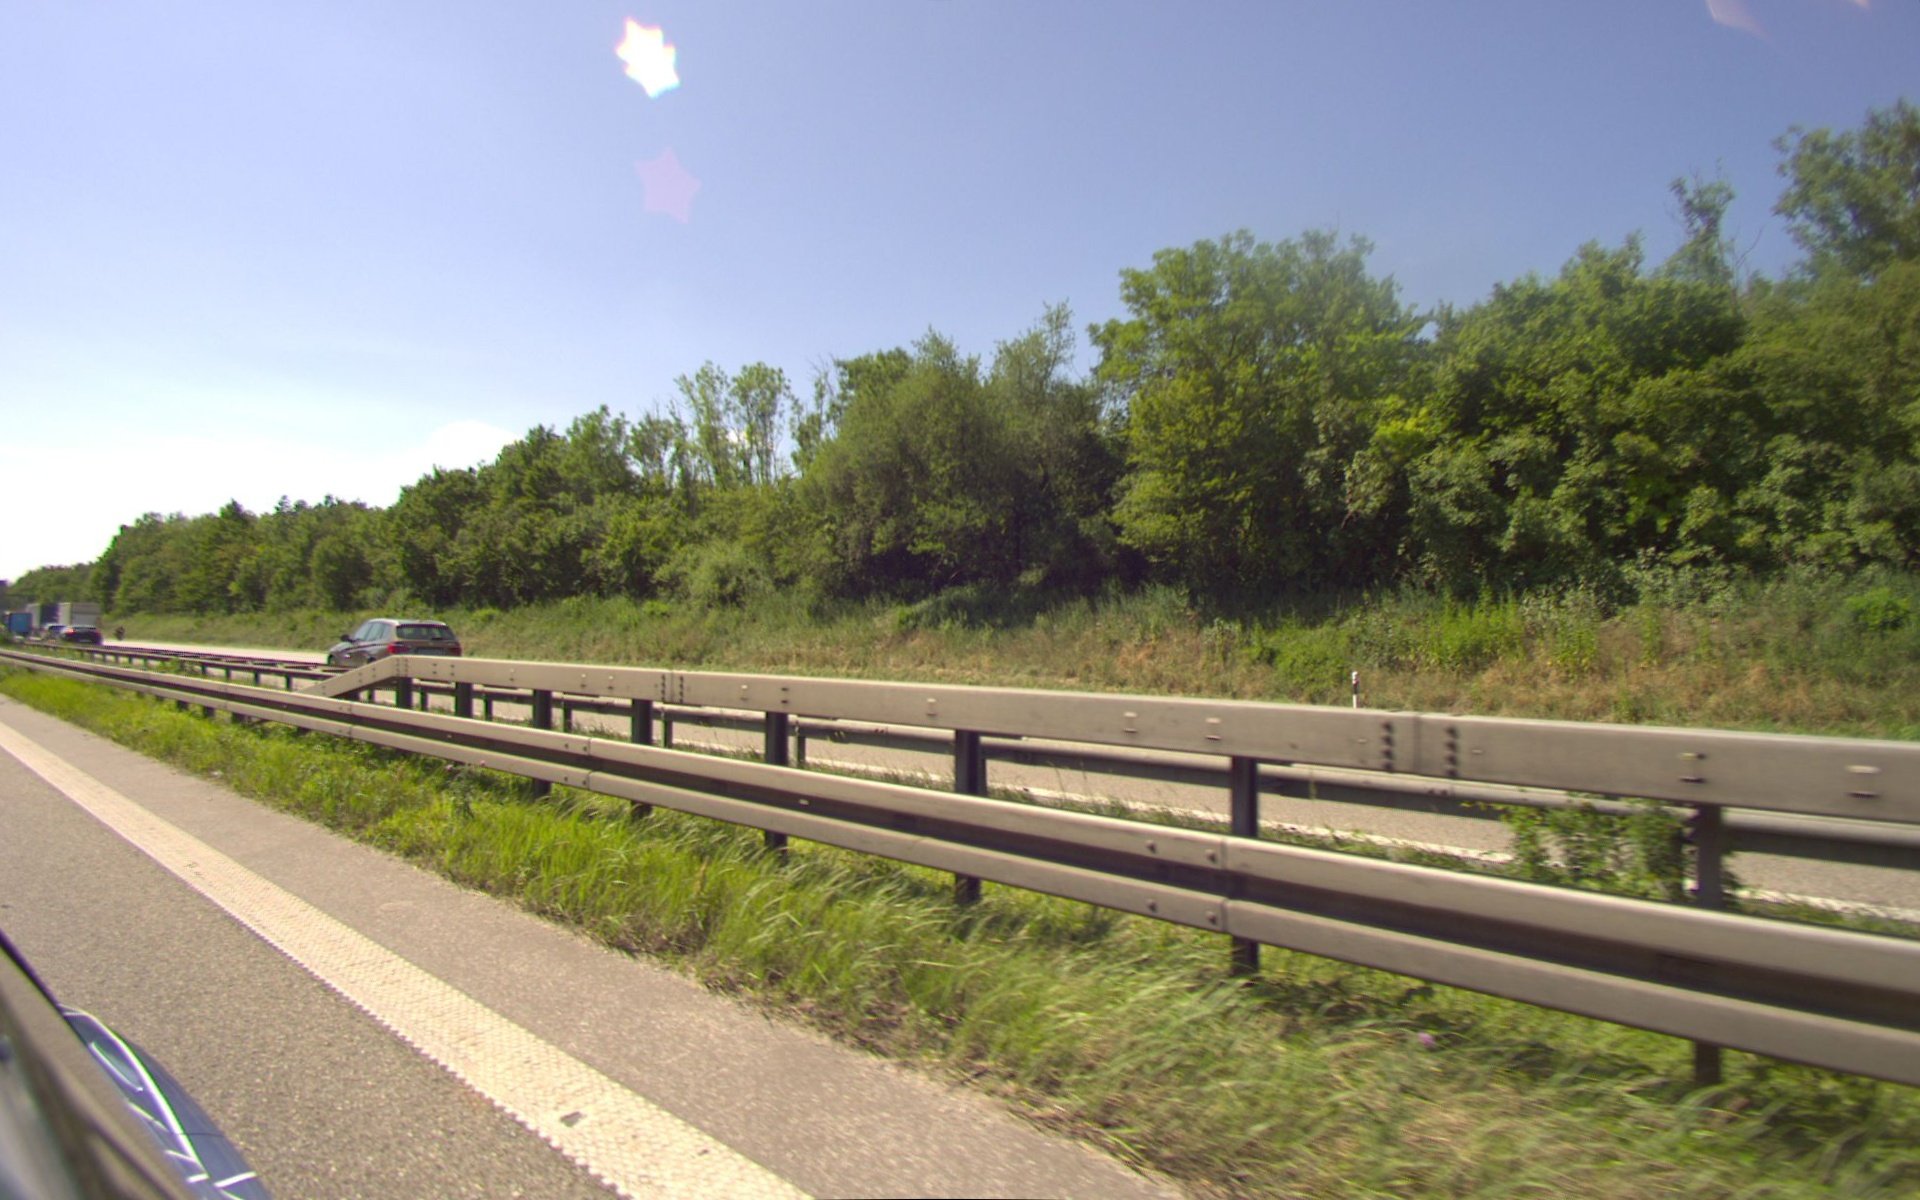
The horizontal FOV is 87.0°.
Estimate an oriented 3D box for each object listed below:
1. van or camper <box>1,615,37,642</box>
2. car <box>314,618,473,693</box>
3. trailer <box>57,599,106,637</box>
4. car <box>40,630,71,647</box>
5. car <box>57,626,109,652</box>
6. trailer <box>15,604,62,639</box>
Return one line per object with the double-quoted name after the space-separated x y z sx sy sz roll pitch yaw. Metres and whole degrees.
-103.261 3.169 111.022 6.796 2.833 2.173 -1 -4 42 "van or camper"
-13.762 1.309 24.457 4.798 1.655 1.788 -1 -4 41 "car"
-91.877 1.930 105.816 7.689 3.838 2.683 -1 -4 42 "trailer"
-81.057 3.410 90.660 3.543 1.507 1.657 -1 -2 41 "car"
-50.342 2.223 58.048 4.147 1.409 1.695 -1 -3 41 "car"
-113.552 2.684 124.602 14.163 4.089 2.587 -1 -4 42 "trailer"
